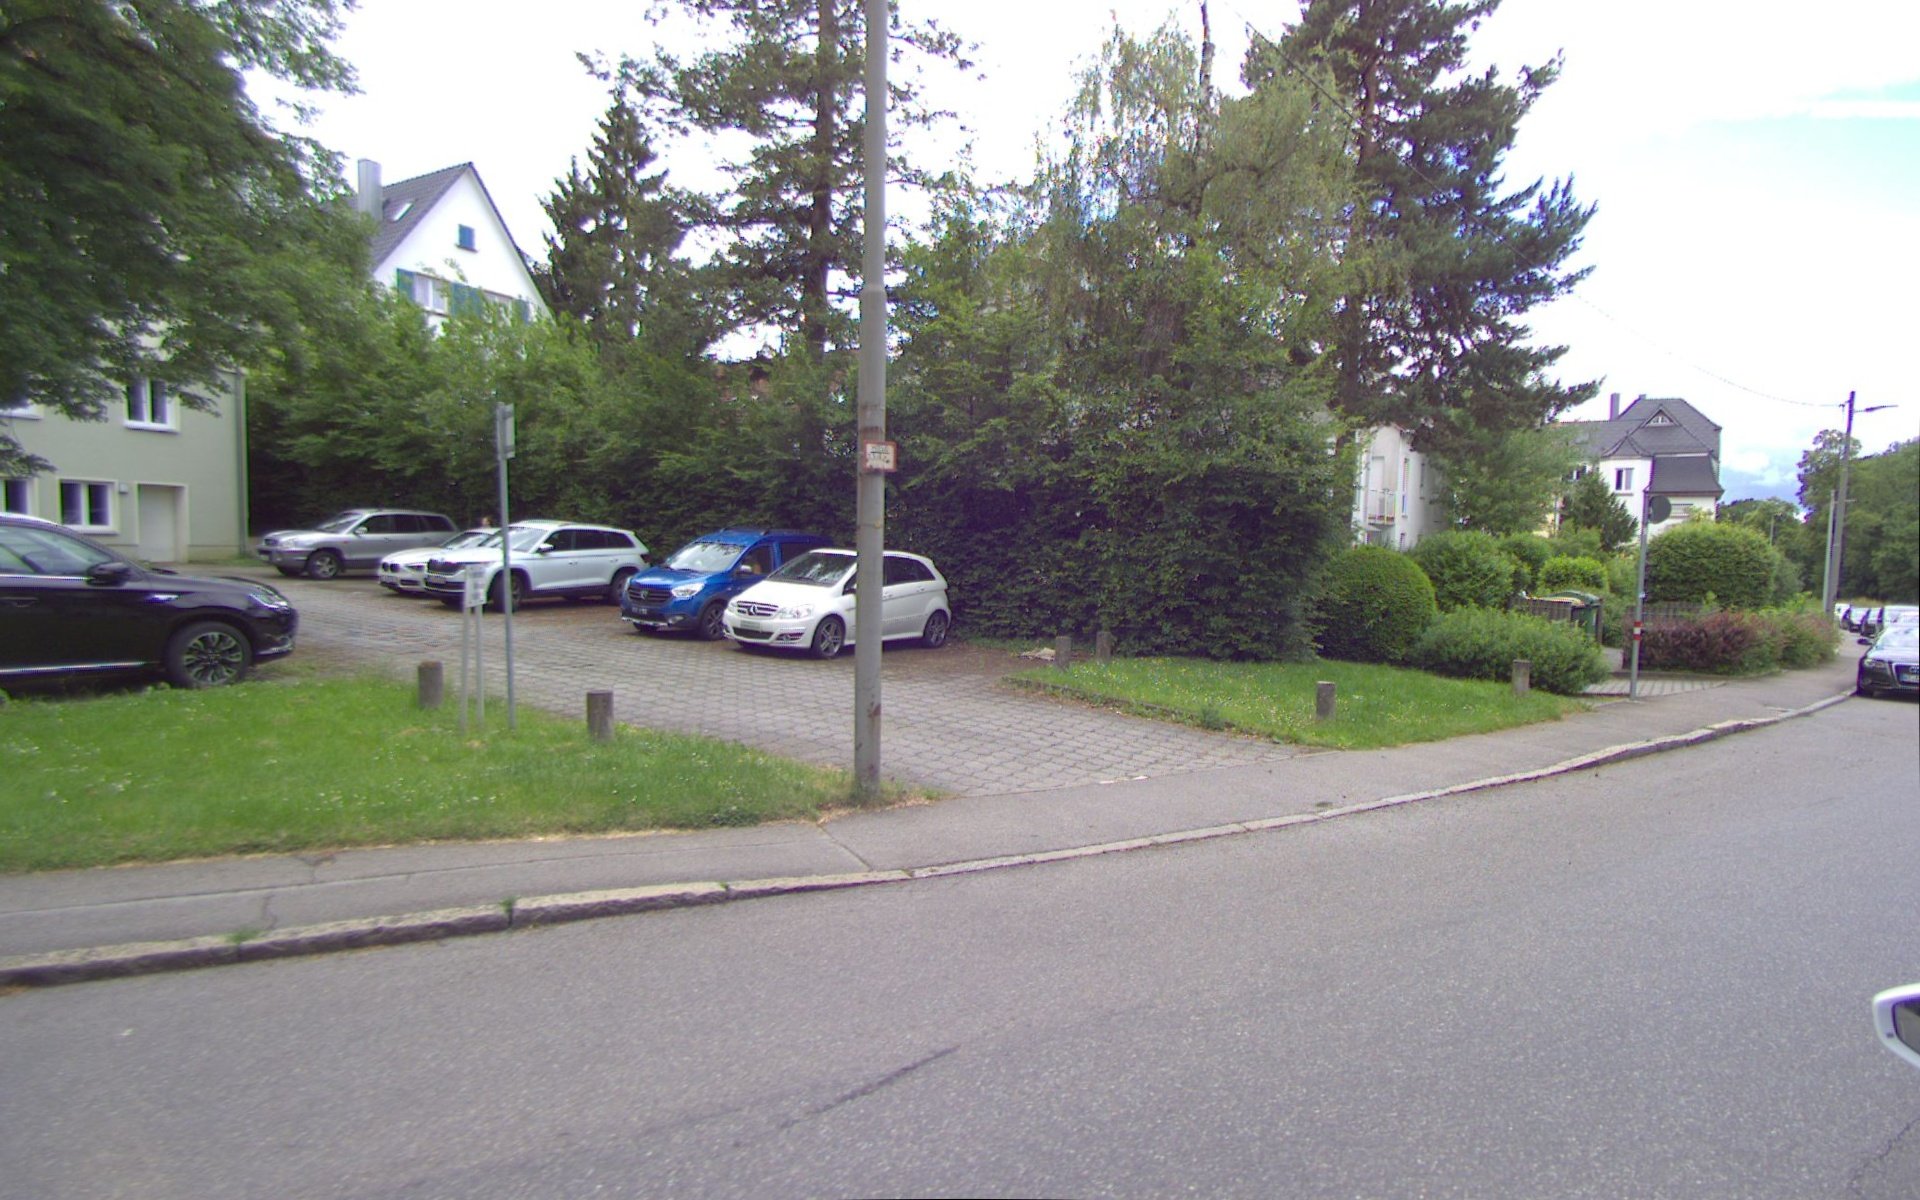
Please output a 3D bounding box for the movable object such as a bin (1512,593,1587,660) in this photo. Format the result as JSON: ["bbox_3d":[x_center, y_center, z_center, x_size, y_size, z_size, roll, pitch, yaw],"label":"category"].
[{"bbox_3d":[13.227,0.561,22.532,1.102,1.382,1.385,5,4,44],"label":"movable object such as a bin"}]

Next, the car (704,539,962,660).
[{"bbox_3d":[-1.871,-0.049,16.081,1.717,1.615,4.260,4,3,33],"label":"car"}]

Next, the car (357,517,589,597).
[{"bbox_3d":[-10.368,-0.915,21.700,1.846,1.513,4.189,4,3,31],"label":"car"}]

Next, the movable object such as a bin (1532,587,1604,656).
[{"bbox_3d":[14.291,0.475,23.604,1.081,1.487,1.444,5,4,44],"label":"movable object such as a bin"}]

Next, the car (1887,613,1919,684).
[{"bbox_3d":[22.017,1.077,22.458,4.304,1.461,1.633,1,2,-45],"label":"car"}]

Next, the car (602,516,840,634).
[{"bbox_3d":[-4.032,-0.468,17.658,1.715,1.756,4.258,4,3,26],"label":"car"}]

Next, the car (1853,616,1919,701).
[{"bbox_3d":[18.413,1.069,19.112,4.473,1.437,1.718,1,1,-44],"label":"car"}]

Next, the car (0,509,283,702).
[{"bbox_3d":[-8.728,-0.005,8.793,1.716,1.615,4.324,4,3,30],"label":"car"}]

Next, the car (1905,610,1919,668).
[{"bbox_3d":[26.731,1.083,27.001,1.743,1.500,4.101,5,3,45],"label":"car"}]

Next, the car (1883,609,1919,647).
[{"bbox_3d":[40.874,1.211,42.932,1.704,1.512,4.393,7,4,39],"label":"car"}]

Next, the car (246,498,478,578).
[{"bbox_3d":[-14.432,-1.460,24.523,1.717,1.754,4.613,4,4,33],"label":"car"}]

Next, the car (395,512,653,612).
[{"bbox_3d":[-8.501,-0.763,20.023,1.971,1.700,4.489,4,3,28],"label":"car"}]
